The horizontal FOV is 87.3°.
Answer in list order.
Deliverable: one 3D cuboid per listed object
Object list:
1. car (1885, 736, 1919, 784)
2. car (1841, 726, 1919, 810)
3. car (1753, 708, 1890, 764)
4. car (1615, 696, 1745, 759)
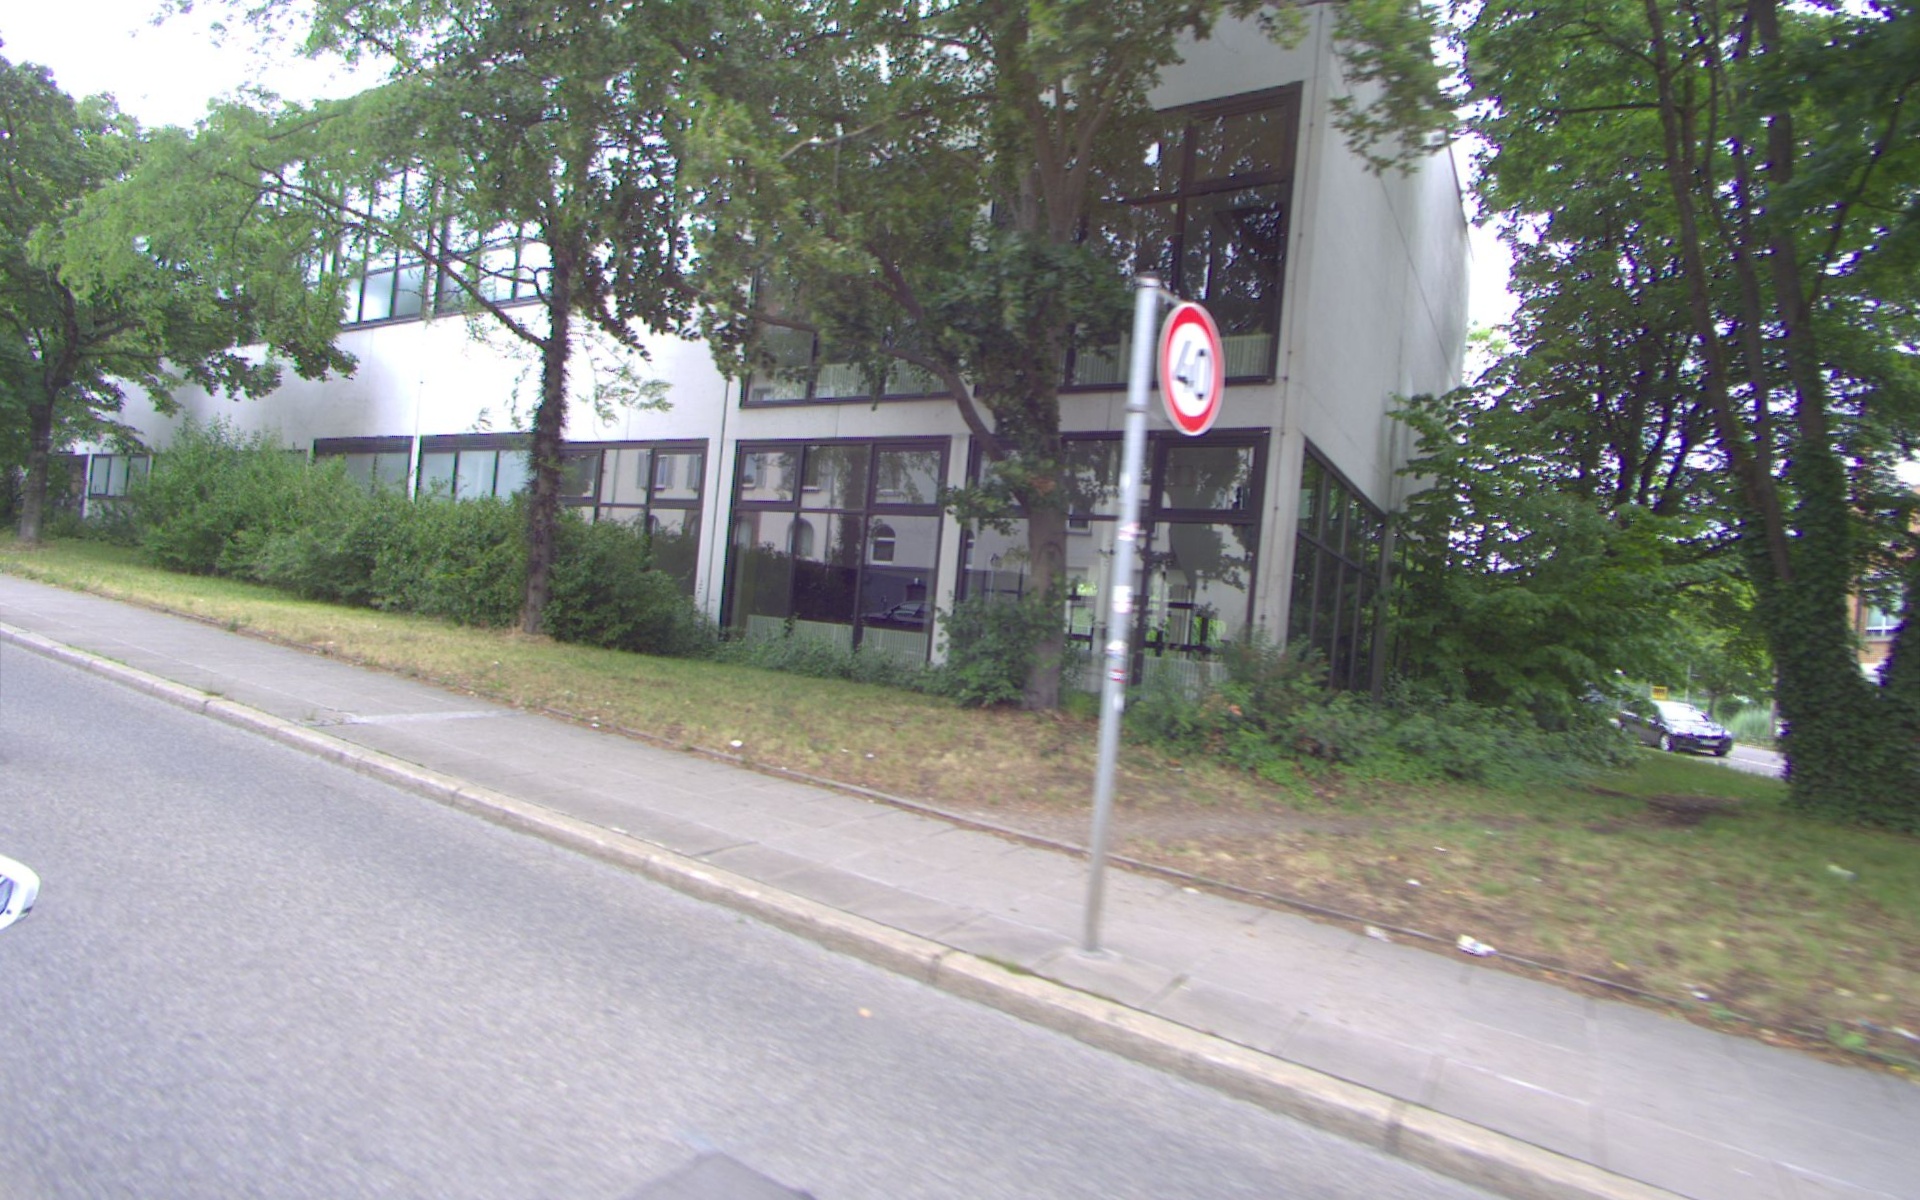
[{"bbox_3d":[30.216,5.111,29.972,1.688,1.337,4.262,10,1,10],"label":"car"},{"bbox_3d":[22.247,3.891,22.658,1.665,1.629,4.311,2,-1,12],"label":"car"},{"bbox_3d":[39.107,6.157,45.746,4.181,1.567,1.937,10,1,7],"label":"car"},{"bbox_3d":[24.186,4.230,34.011,1.961,1.629,4.311,2,-1,12],"label":"car"}]
